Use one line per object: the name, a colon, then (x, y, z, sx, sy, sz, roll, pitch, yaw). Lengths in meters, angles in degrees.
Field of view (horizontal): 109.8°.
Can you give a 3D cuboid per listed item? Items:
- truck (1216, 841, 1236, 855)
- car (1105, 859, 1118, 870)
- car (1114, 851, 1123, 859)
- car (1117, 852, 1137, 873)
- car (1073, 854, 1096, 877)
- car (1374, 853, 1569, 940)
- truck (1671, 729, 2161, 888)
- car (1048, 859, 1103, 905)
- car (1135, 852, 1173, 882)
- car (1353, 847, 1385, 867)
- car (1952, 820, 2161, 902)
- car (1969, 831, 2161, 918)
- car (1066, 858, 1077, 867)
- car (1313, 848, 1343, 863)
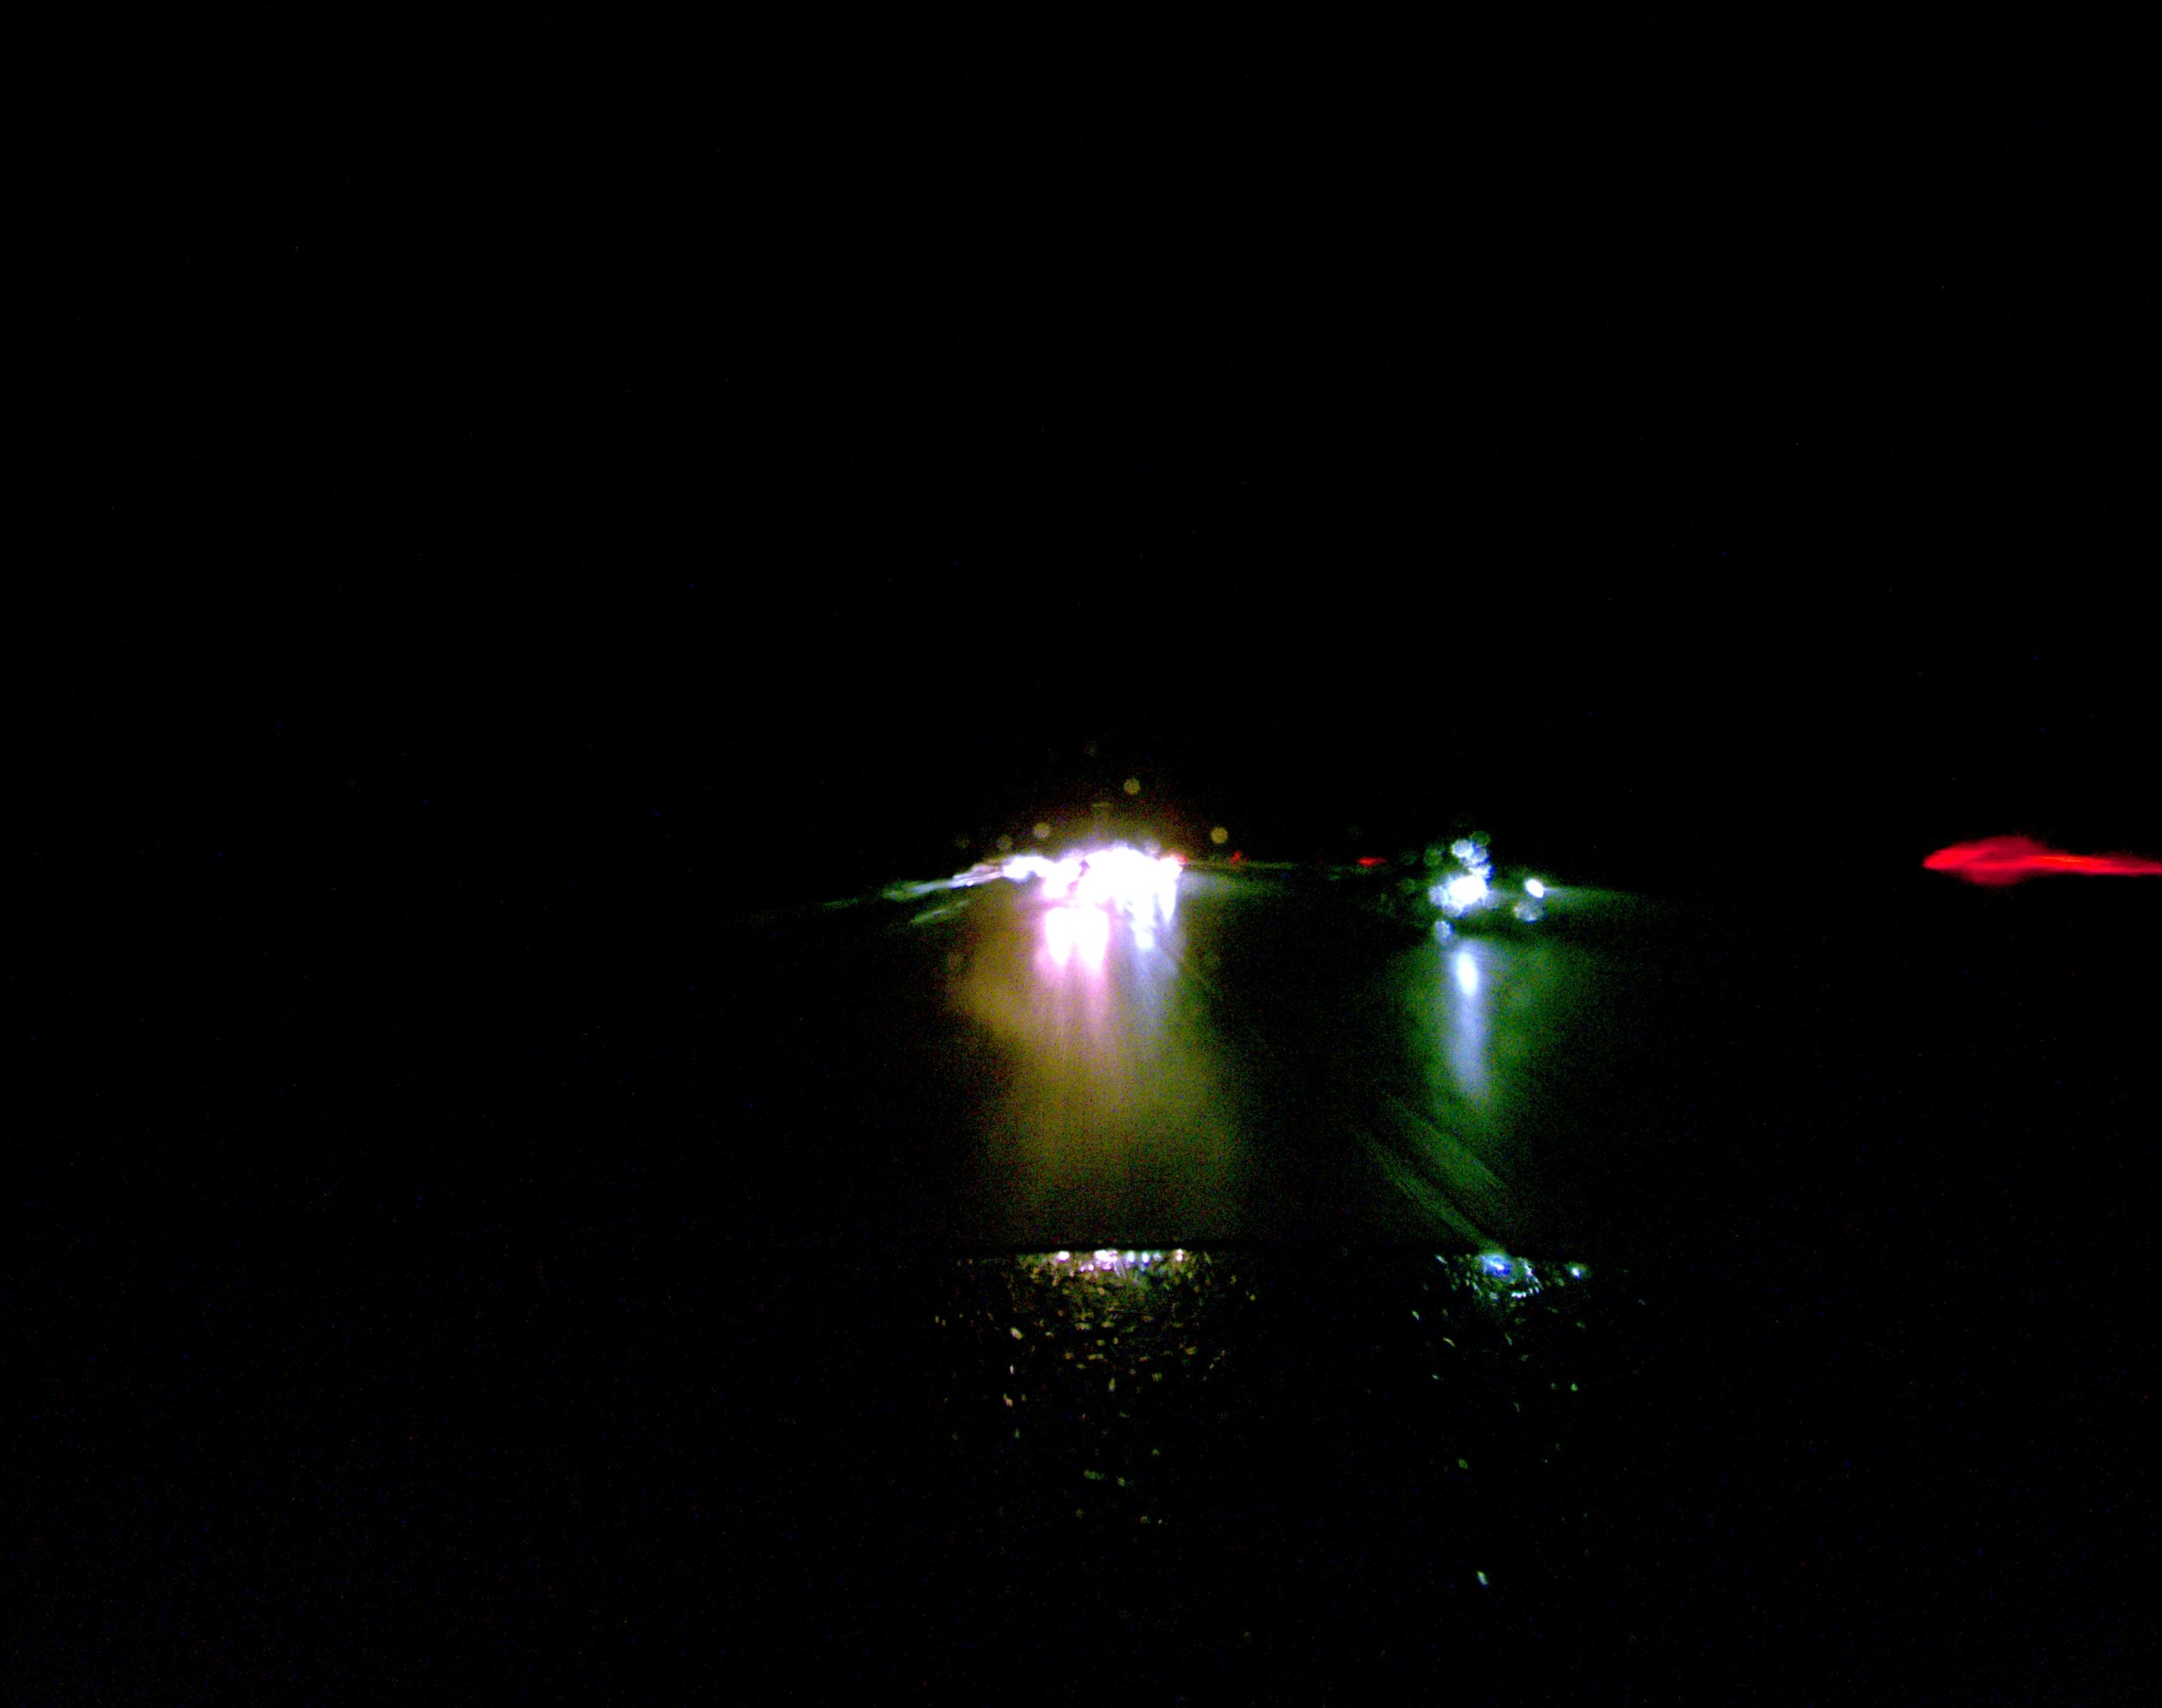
truck: (29.595, -1.225, 155.165, 2.907, 2.830, 7.745, -2, 0, 4)
car: (4.498, 1.533, 113.393, 1.755, 1.563, 4.000, -2, 0, 1)
car: (8.402, 0.127, 171.924, 1.800, 1.728, 4.000, -2, 0, 1)
car: (4.242, 0.770, 70.032, 1.611, 1.775, 3.910, -2, 0, 1)
car: (0.302, 0.921, 62.056, 1.792, 1.681, 4.000, -2, 0, 1)
car: (7.478, 0.732, 15.079, 1.661, 1.422, 4.246, -2, 0, 0)
truck: (32.234, -1.416, 30.588, 3.418, 4.532, 17.598, -2, 0, 1)
car: (-0.128, 0.943, 27.490, 1.774, 1.449, 4.195, -2, 0, 1)
car: (4.512, 0.782, 47.618, 1.960, 1.655, 4.916, -2, 0, 1)
car: (28.387, 0.269, 74.989, 1.635, 1.794, 3.911, -2, 0, 2)
car: (23.858, 0.110, 18.097, 1.746, 1.714, 3.875, -2, 0, 0)
car: (19.930, 0.348, 14.415, 1.682, 1.495, 3.815, -2, 0, 0)
car: (-1.776, 1.544, 142.994, 1.755, 1.563, 4.000, -2, 0, 1)
car: (29.005, 0.123, 89.337, 1.998, 1.663, 4.346, -2, 0, 0)
